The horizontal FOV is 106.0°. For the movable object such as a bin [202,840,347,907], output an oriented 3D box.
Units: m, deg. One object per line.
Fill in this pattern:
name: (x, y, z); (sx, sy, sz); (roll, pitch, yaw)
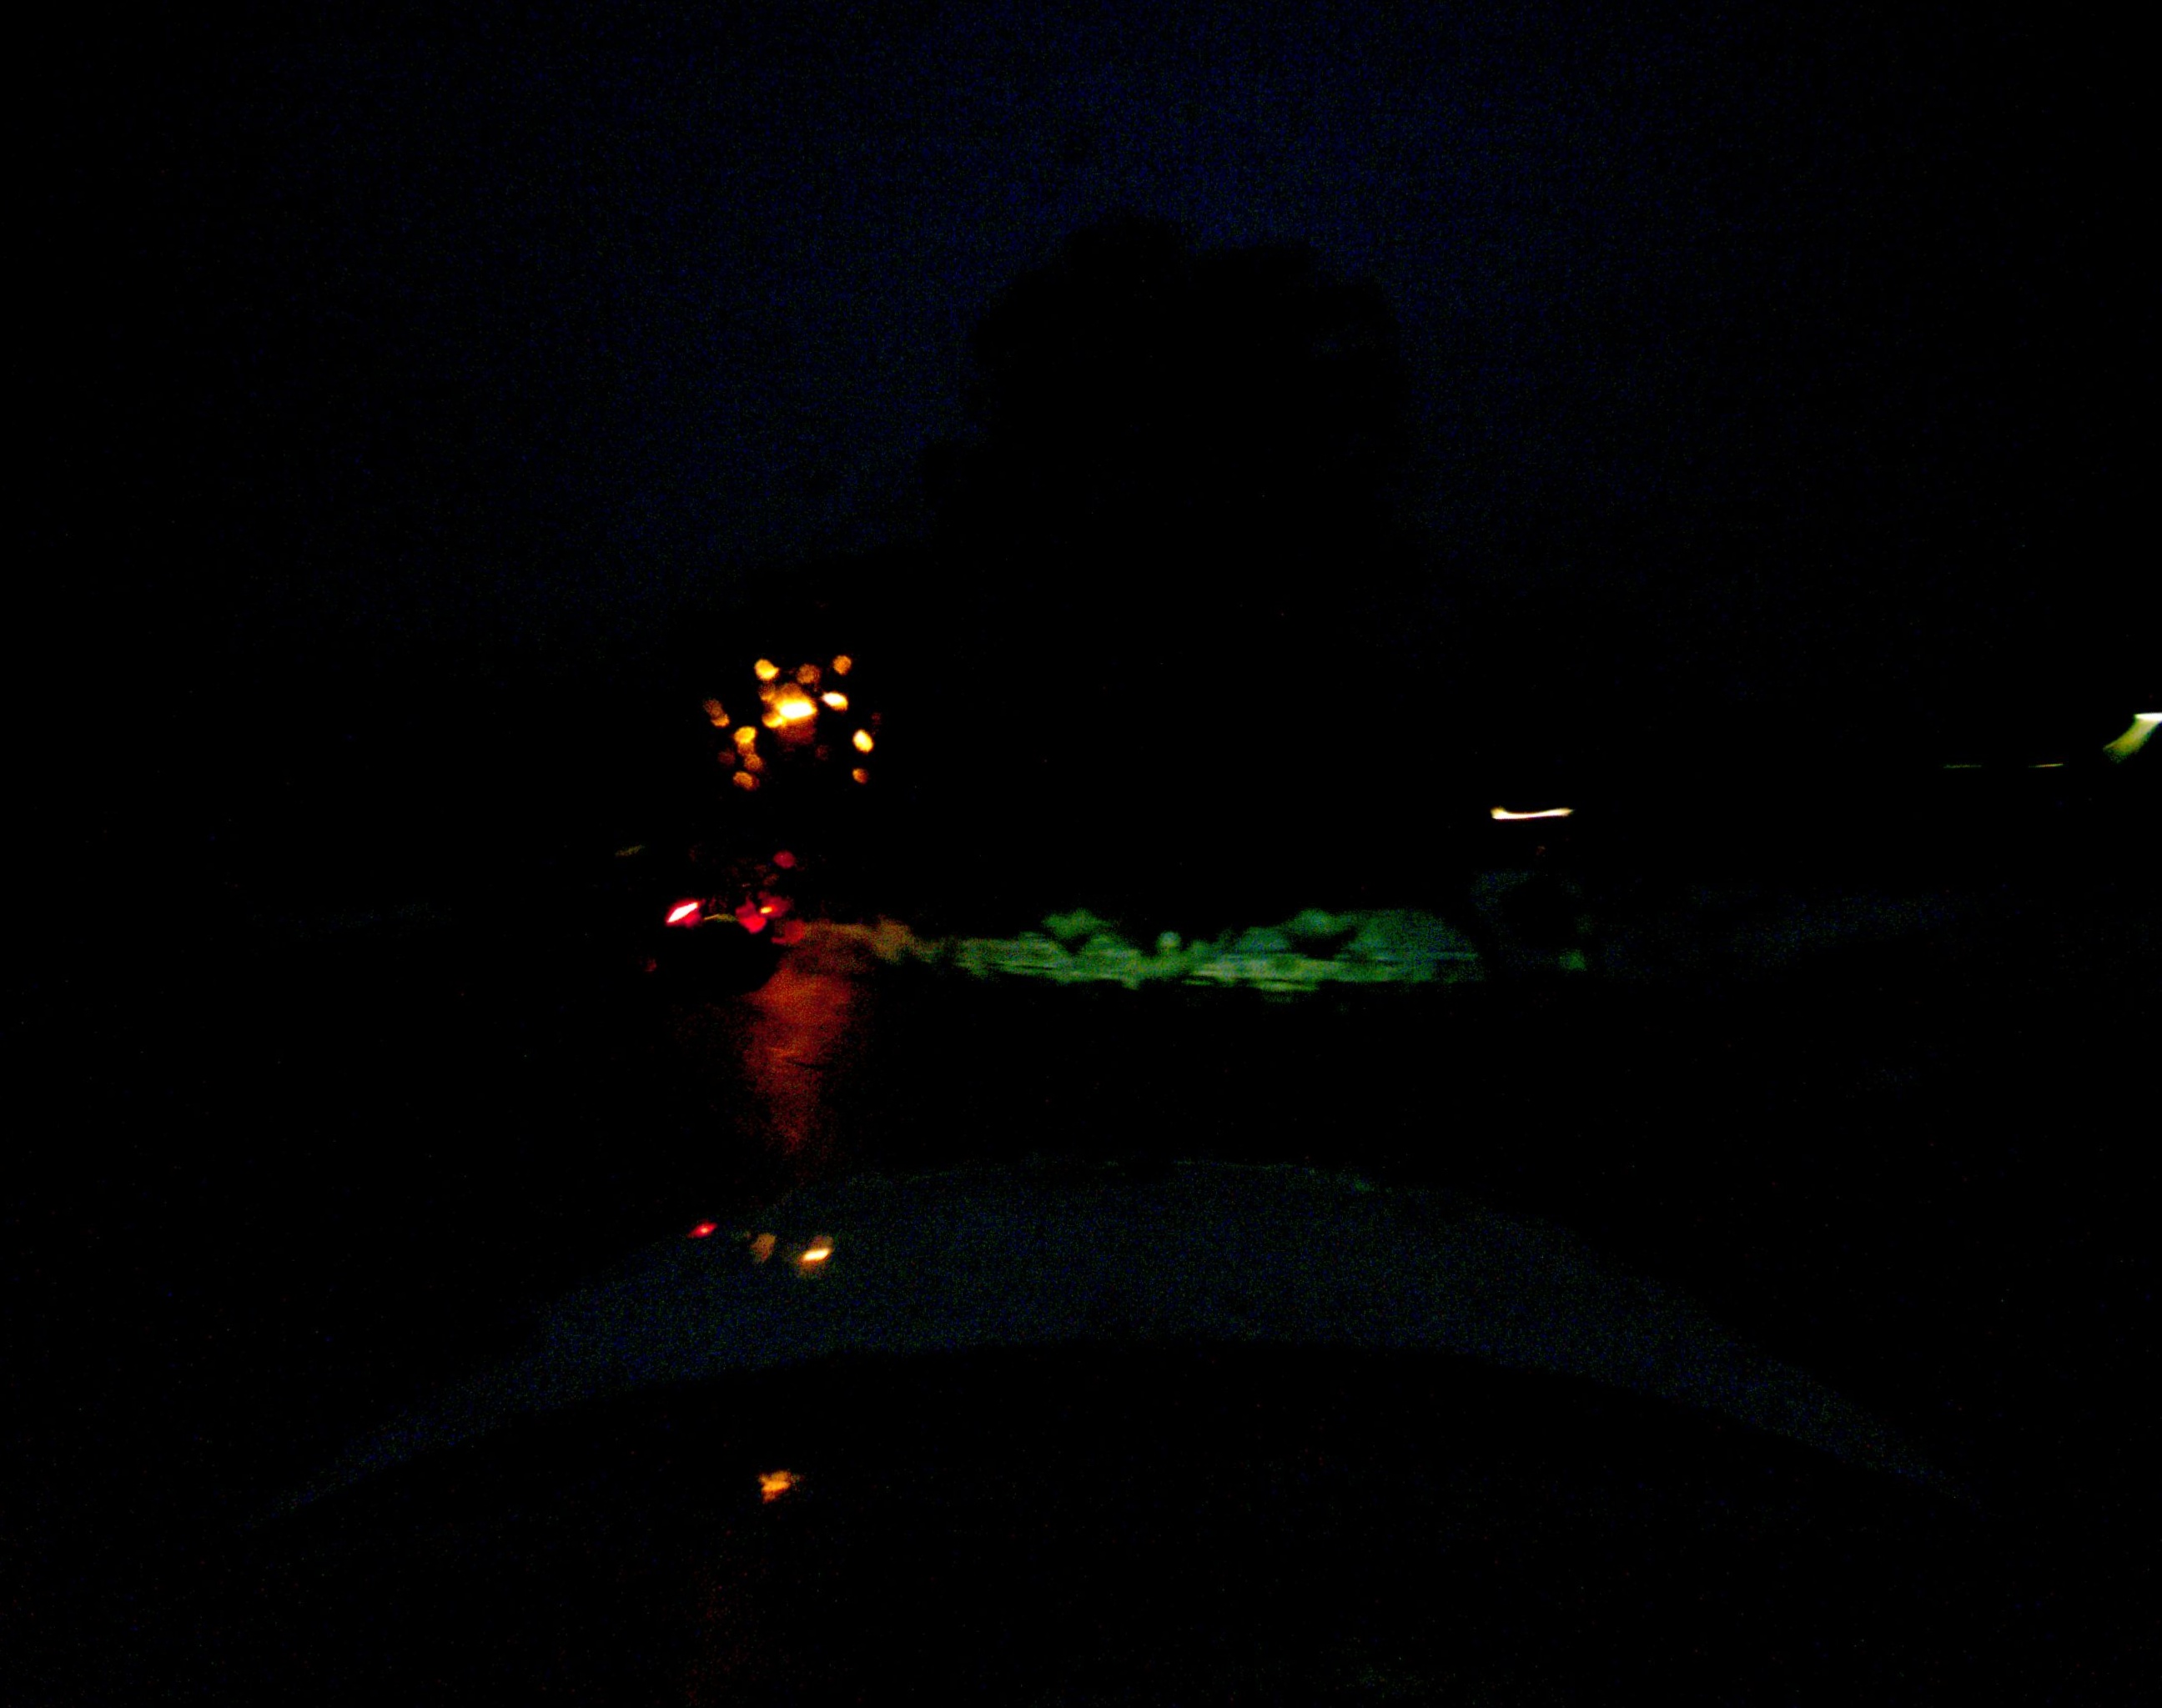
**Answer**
movable object such as a bin: (-22.663, 0.557, 22.970); (2.362, 1.649, 1.437); (5, -3, -8)

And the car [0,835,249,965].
car: (-17.744, 0.756, 13.342); (5.296, 2.014, 2.191); (2, -4, -33)

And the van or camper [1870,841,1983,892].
van or camper: (20.769, 0.303, 20.110); (1.270, 1.101, 3.293); (3, 1, 35)

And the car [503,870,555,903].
car: (-27.751, 1.611, 41.067); (1.728, 1.534, 3.485); (2, -1, -28)

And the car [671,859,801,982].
car: (-6.059, 1.000, 14.078); (1.832, 1.796, 3.546); (0, 0, -27)
